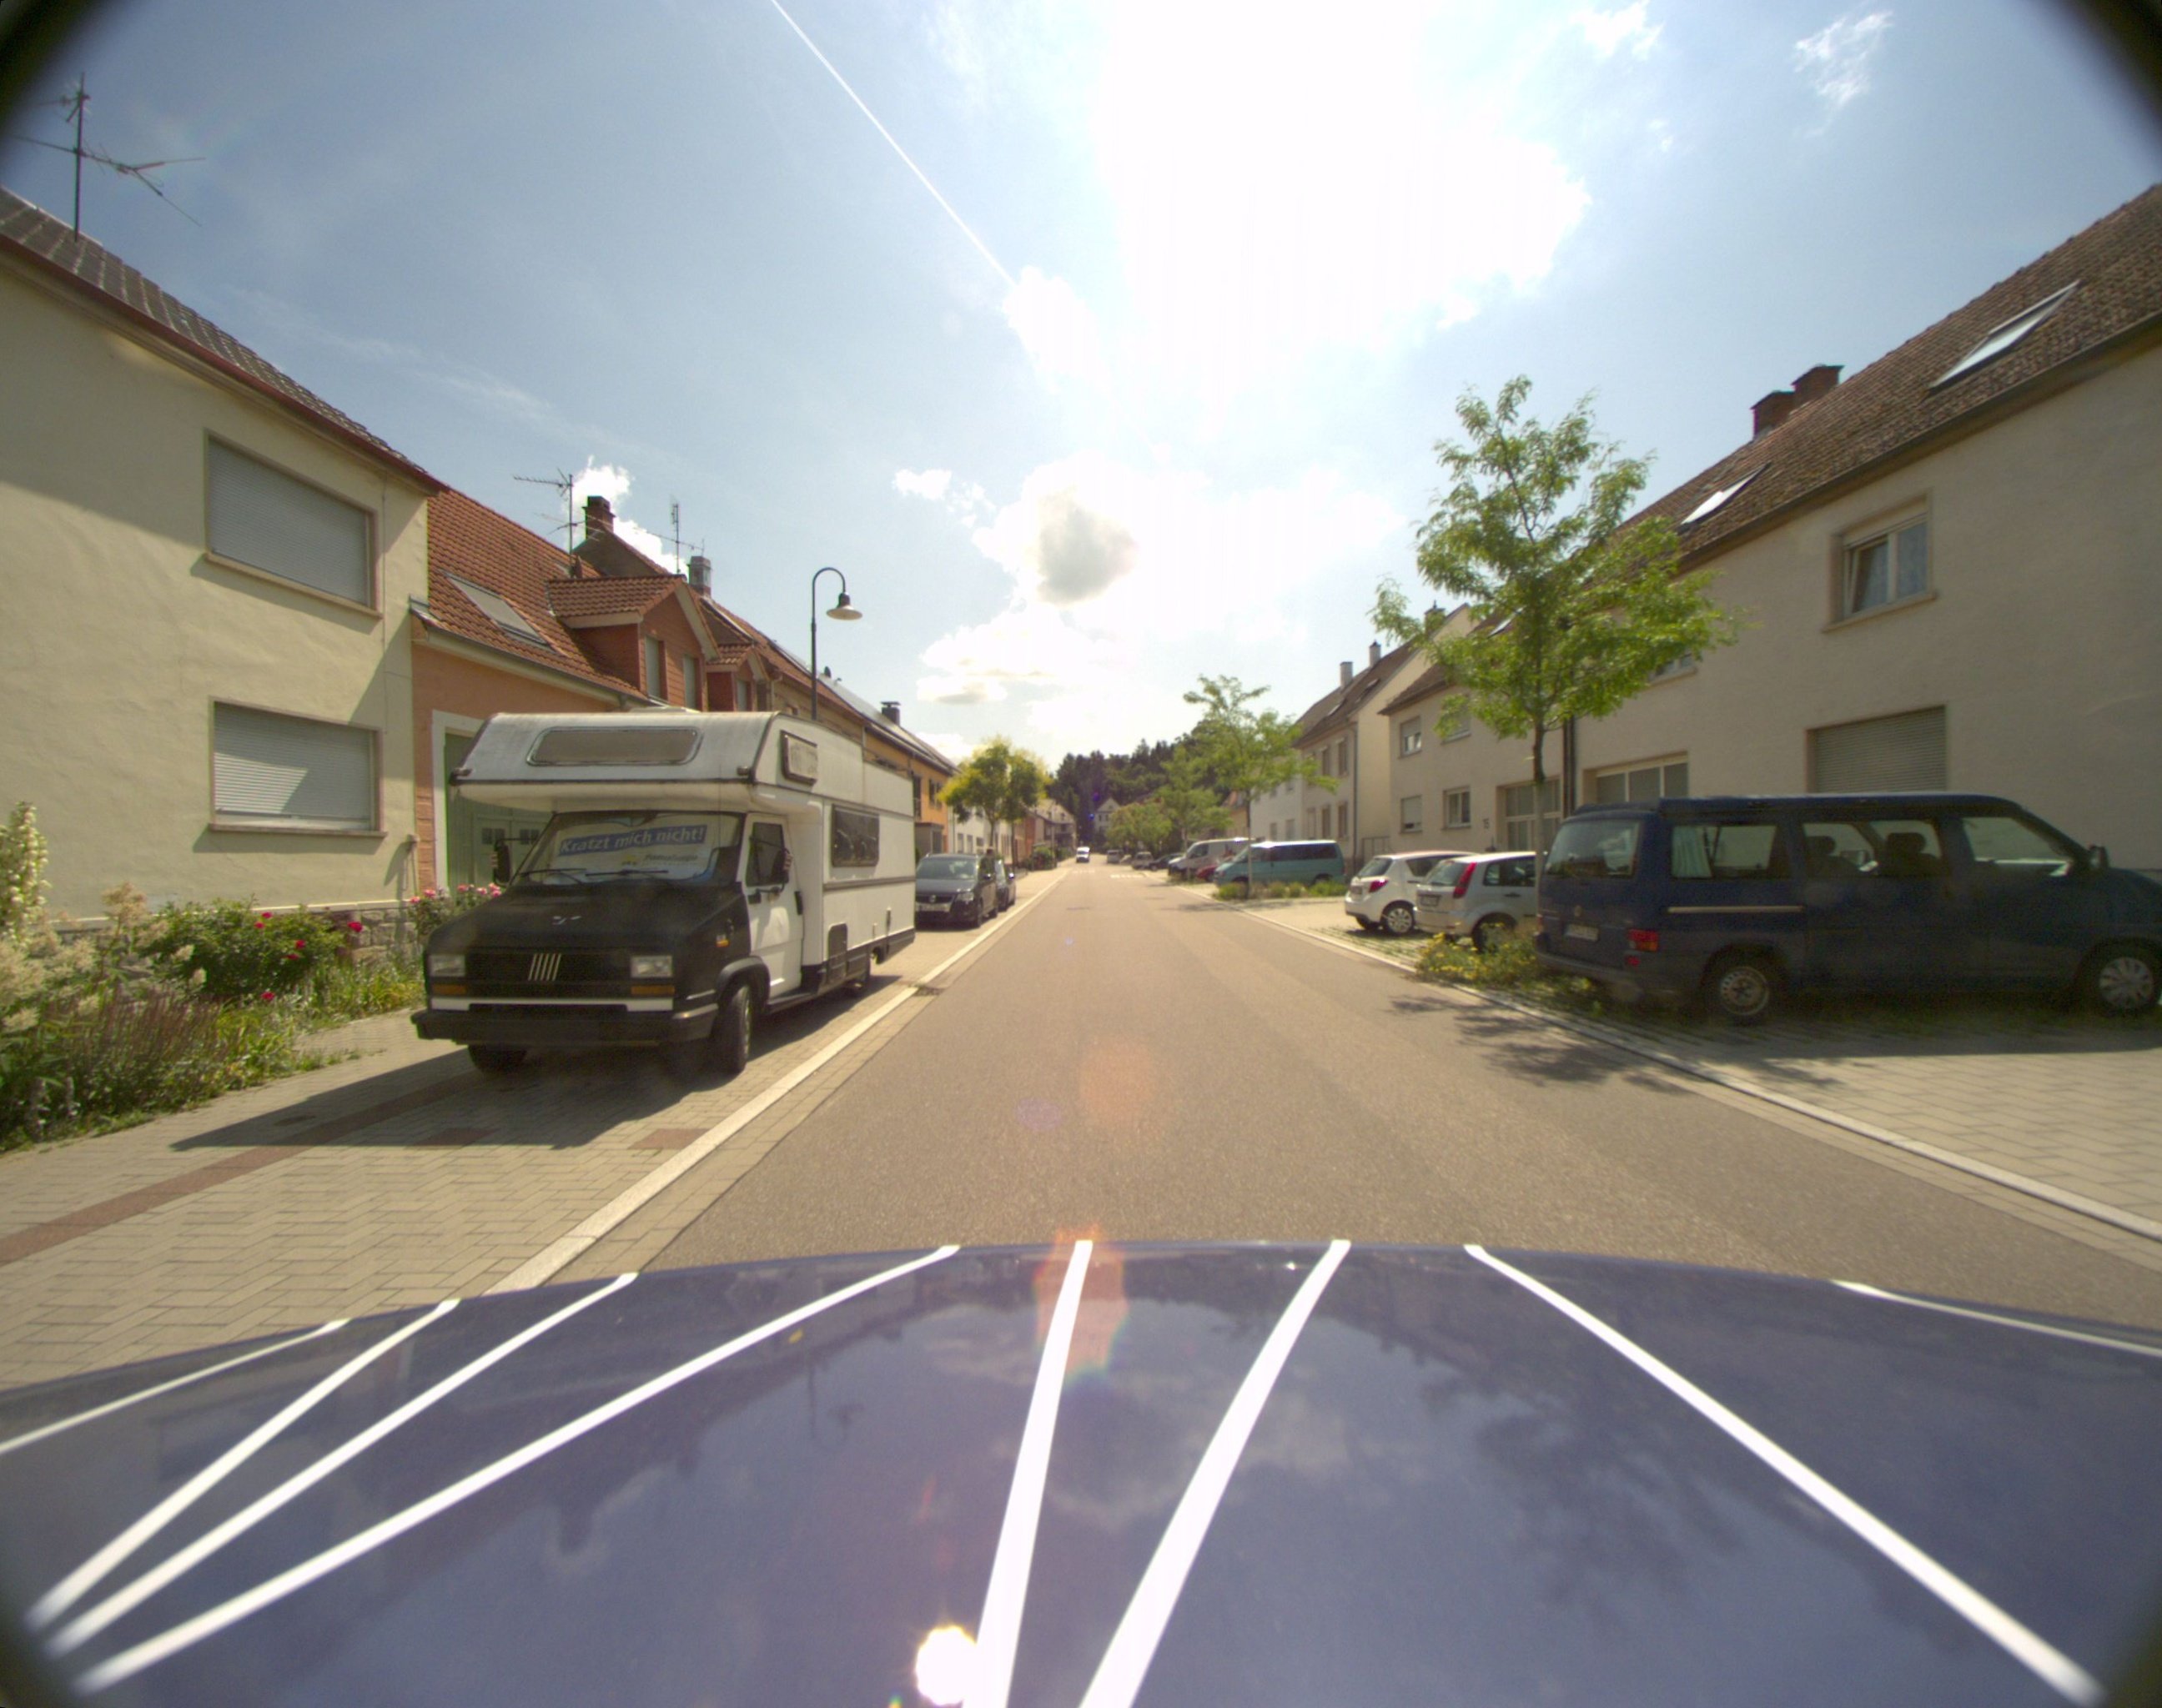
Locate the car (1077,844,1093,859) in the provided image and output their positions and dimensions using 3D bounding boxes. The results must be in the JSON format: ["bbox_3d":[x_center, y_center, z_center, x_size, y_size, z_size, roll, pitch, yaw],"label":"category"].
[{"bbox_3d":[0.701,-0.445,126.122,2.489,2.306,5.599,-3,1,0],"label":"car"}]

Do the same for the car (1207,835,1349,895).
[{"bbox_3d":[7.182,0.384,28.127,4.688,1.896,2.000,-3,1,2],"label":"car"}]

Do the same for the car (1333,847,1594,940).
[{"bbox_3d":[6.960,0.691,14.157,3.925,1.480,1.773,-2,1,3],"label":"car"}]

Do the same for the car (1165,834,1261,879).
[{"bbox_3d":[7.677,0.133,44.517,5.180,2.275,2.157,-3,1,-1],"label":"car"}]

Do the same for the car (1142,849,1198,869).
[{"bbox_3d":[7.740,0.424,66.286,4.598,1.508,1.901,-2,1,1],"label":"car"}]

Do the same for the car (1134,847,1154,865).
[{"bbox_3d":[6.465,0.234,78.225,1.844,1.737,4.687,-3,-1,2],"label":"car"}]

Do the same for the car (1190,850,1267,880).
[{"bbox_3d":[7.890,0.597,40.795,3.792,1.377,1.725,-3,1,1],"label":"car"}]

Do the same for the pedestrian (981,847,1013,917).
[{"bbox_3d":[-2.261,0.743,20.495,0.718,1.842,0.578,-2,1,1],"label":"pedestrian"}]

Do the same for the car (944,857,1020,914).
[{"bbox_3d":[-2.892,0.871,23.028,1.771,1.480,4.295,-2,0,-1],"label":"car"}]

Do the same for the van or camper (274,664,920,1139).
[{"bbox_3d":[-3.461,0.287,7.365,2.479,2.793,5.790,0,0,1],"label":"van or camper"}]

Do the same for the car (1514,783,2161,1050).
[{"bbox_3d":[6.892,0.491,6.995,4.623,1.985,1.953,-2,1,3],"label":"car"}]

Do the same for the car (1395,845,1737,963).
[{"bbox_3d":[7.050,0.690,11.382,3.925,1.480,1.773,-2,1,3],"label":"car"}]

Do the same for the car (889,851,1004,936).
[{"bbox_3d":[-2.990,0.805,17.764,1.771,1.695,4.325,-2,0,1],"label":"car"}]

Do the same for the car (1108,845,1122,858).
[{"bbox_3d":[5.498,-0.478,122.585,1.998,1.968,3.999,-1,1,0],"label":"car"}]
